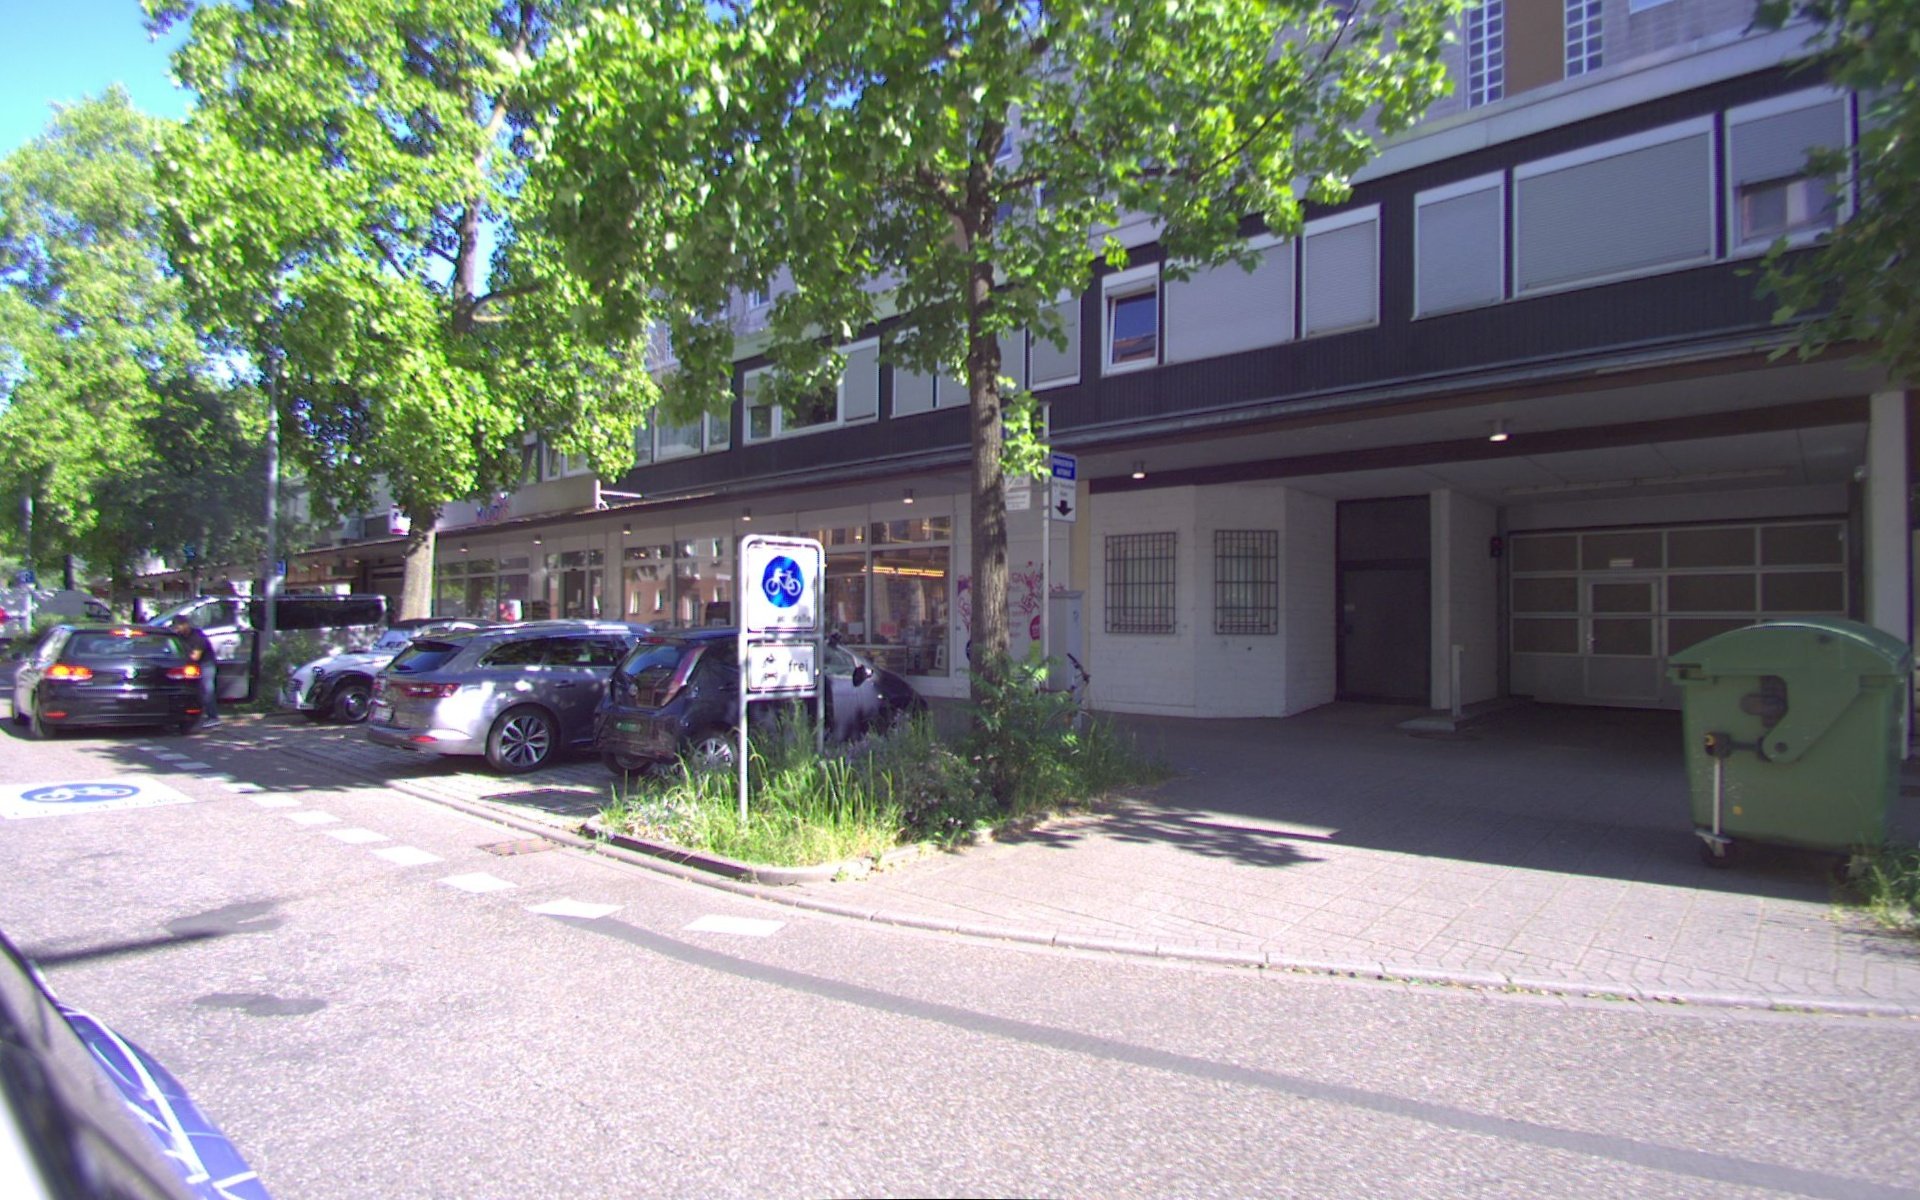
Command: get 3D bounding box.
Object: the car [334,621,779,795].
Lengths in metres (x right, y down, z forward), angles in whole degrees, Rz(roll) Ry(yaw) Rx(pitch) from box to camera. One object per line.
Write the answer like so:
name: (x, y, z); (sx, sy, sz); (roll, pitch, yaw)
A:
car: (-4.291, 1.017, 11.270); (1.762, 1.471, 4.257); (-1, -1, 43)

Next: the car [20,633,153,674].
car: (-32.969, 1.988, 38.252); (1.830, 1.431, 3.556); (-1, -2, 41)

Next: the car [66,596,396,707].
car: (-14.866, 0.967, 20.941); (2.014, 1.989, 5.237); (-1, -1, 41)

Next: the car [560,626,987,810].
car: (-1.710, 1.022, 10.483); (1.643, 1.444, 4.260); (-1, -1, 41)

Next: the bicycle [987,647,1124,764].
bicycle: (0.944, 1.026, 10.205); (1.342, 1.086, 0.461); (-1, -2, 39)

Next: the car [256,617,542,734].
car: (-8.560, 1.061, 15.731); (1.677, 1.564, 3.573); (-1, -1, 30)

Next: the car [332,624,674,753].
car: (-6.144, 1.087, 13.993); (1.809, 1.474, 3.951); (-1, -1, 36)

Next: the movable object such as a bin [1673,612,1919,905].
movable object such as a bin: (4.929, 0.812, 5.820); (1.215, 1.461, 1.077); (2, -2, -41)

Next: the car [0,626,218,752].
car: (-11.679, 1.108, 13.749); (3.959, 1.449, 1.744); (-1, -3, 42)

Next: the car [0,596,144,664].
car: (-35.437, 1.125, 38.687); (1.985, 2.493, 6.559); (-1, -1, 20)
